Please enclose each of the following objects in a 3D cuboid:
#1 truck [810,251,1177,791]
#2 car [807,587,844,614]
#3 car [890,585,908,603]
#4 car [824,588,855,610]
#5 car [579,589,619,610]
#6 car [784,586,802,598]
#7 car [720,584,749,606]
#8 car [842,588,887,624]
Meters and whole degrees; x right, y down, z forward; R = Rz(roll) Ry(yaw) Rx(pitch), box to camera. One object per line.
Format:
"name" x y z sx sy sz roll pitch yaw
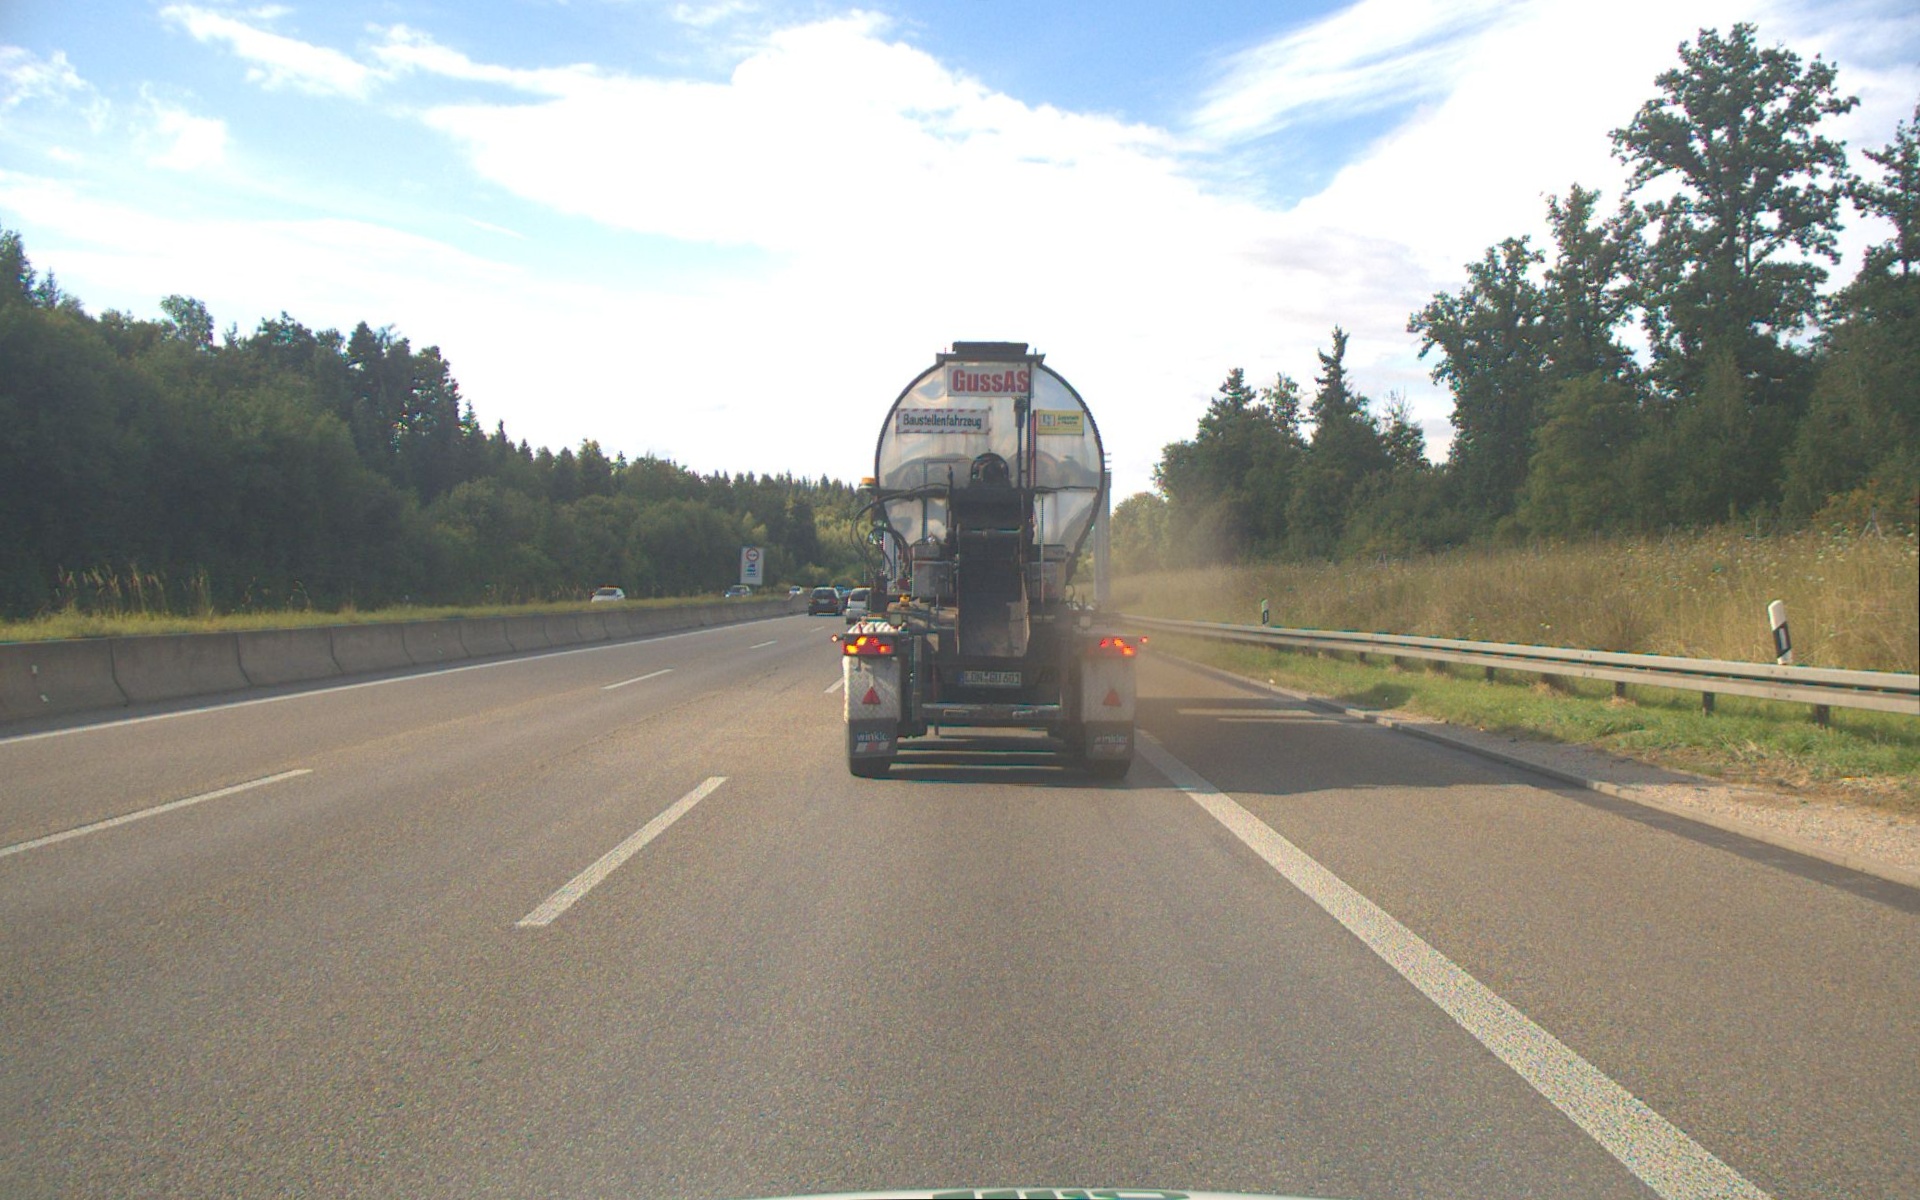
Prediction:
"truck" 0.261 -0.654 18.659 2.853 4.230 11.269 0 0 0
"car" -7.760 0.010 95.525 1.798 1.544 4.333 0 0 0
"car" -6.264 -0.653 169.660 1.808 1.814 3.999 0 0 -2
"car" -8.390 -0.082 115.755 1.818 1.456 4.840 0 0 0
"car" -22.852 -0.028 104.757 1.779 1.313 3.544 0 0 0
"car" -22.300 -1.037 221.303 1.910 1.566 4.327 0 0 0
"car" -18.843 -0.417 138.503 1.867 1.747 4.000 0 0 0
"car" -4.244 0.235 74.072 1.798 1.544 4.333 0 0 0
